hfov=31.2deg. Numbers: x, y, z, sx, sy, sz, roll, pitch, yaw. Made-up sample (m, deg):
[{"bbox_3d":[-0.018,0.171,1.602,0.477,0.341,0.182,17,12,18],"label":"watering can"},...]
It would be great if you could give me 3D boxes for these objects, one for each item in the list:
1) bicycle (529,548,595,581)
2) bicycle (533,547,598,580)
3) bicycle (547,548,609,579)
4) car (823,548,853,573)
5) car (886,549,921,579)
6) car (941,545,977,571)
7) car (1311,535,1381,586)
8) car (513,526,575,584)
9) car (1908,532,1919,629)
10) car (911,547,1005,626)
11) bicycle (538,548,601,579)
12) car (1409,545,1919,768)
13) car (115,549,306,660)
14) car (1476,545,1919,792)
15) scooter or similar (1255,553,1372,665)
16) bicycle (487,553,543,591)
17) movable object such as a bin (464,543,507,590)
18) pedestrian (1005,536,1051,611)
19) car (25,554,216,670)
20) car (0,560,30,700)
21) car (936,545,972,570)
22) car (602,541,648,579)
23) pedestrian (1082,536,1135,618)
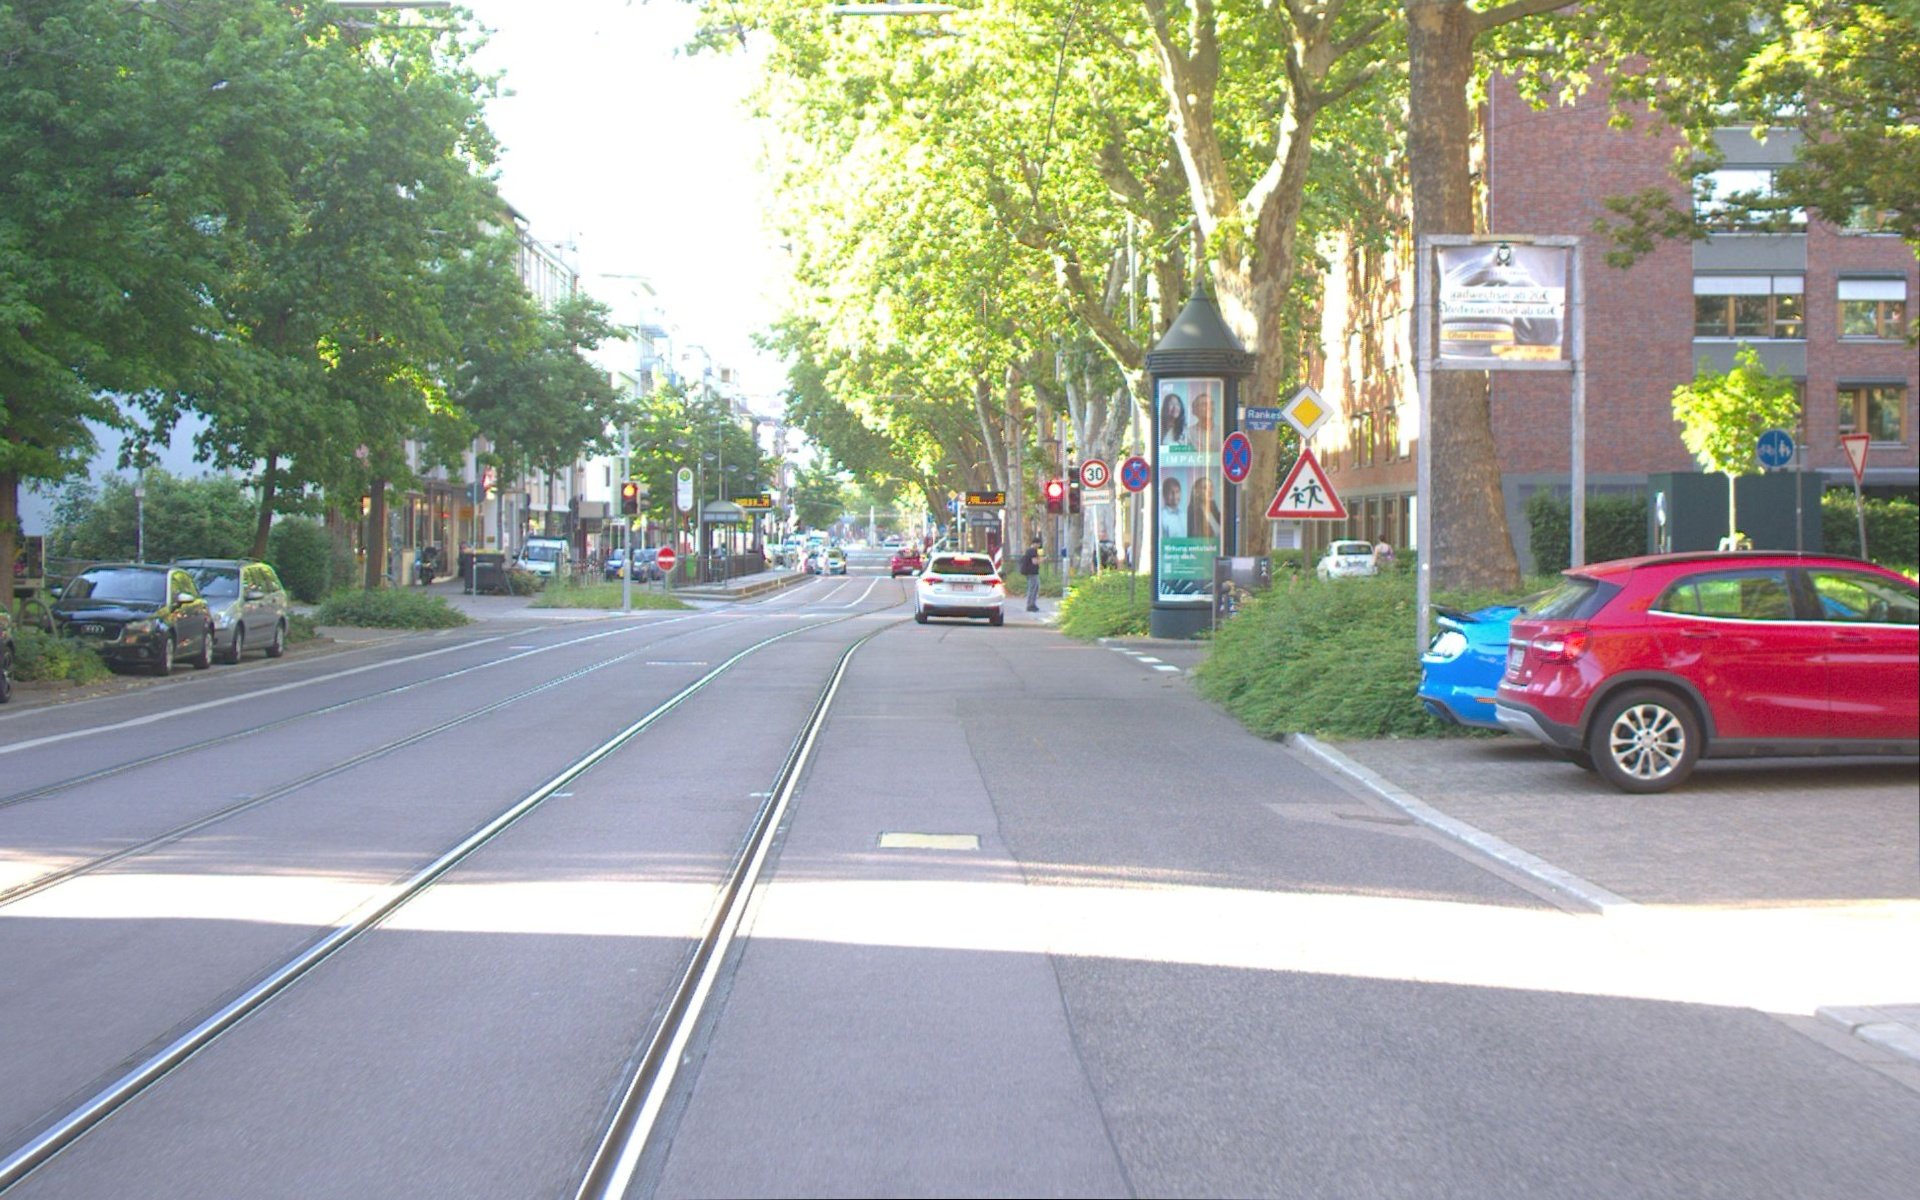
[{"bbox_3d":[-14.312,-1.273,123.533,2.253,1.070,0.636,3,1,0],"label":"bicycle"},{"bbox_3d":[-14.435,-1.330,125.965,2.253,1.070,0.636,3,1,0],"label":"bicycle"},{"bbox_3d":[-14.529,-1.386,130.805,2.253,1.070,0.636,3,1,0],"label":"bicycle"},{"bbox_3d":[-7.110,-2.317,200.016,1.693,1.414,4.000,0,1,-1],"label":"car"},{"bbox_3d":[-2.884,-1.852,174.698,1.788,1.508,4.000,0,1,-1],"label":"car"},{"bbox_3d":[-0.068,-2.434,197.249,1.993,1.448,4.000,0,1,-1],"label":"car"},{"bbox_3d":[11.674,-1.208,104.127,1.600,1.490,3.417,0,1,-2],"label":"car"},{"bbox_3d":[-14.032,-1.525,116.022,1.688,1.933,4.000,0,1,-1],"label":"car"},{"bbox_3d":[16.036,-0.305,50.830,3.537,1.447,1.684,-1,1,-3],"label":"car"},{"bbox_3d":[-0.071,-0.296,68.813,1.788,1.508,4.000,0,1,-1],"label":"car"},{"bbox_3d":[-14.639,-1.374,128.973,2.253,1.070,0.636,3,1,0],"label":"bicycle"},{"bbox_3d":[5.490,0.381,24.838,4.404,1.537,1.817,0,1,6],"label":"car"},{"bbox_3d":[-11.060,0.028,51.035,1.700,1.545,4.536,1,1,2],"label":"car"},{"bbox_3d":[5.717,0.414,22.556,4.403,1.537,1.952,0,1,2],"label":"car"},{"bbox_3d":[3.952,0.098,38.469,1.208,1.235,0.569,-1,0,-3],"label":"scooter or similar"},{"bbox_3d":[-13.555,-0.860,104.748,1.533,1.071,0.885,3,1,-2],"label":"bicycle"},{"bbox_3d":[-14.163,-0.999,102.666,1.169,1.344,0.783,3,1,-5],"label":"movable object such as a bin"},{"bbox_3d":[1.666,-0.657,84.235,0.994,1.805,0.864,-1,1,-6],"label":"pedestrian"},{"bbox_3d":[-11.079,0.128,45.583,1.658,1.440,3.950,1,1,-2],"label":"car"},{"bbox_3d":[-10.977,0.341,35.261,1.853,1.453,4.271,0,1,-2],"label":"car"},{"bbox_3d":[-0.356,-2.509,202.332,1.993,1.448,4.000,0,1,-1],"label":"car"},{"bbox_3d":[-14.416,-1.732,148.132,1.593,1.543,4.000,2,1,-1],"label":"car"},{"bbox_3d":[3.480,-0.550,80.756,0.982,1.857,1.016,-4,1,-6],"label":"pedestrian"}]
